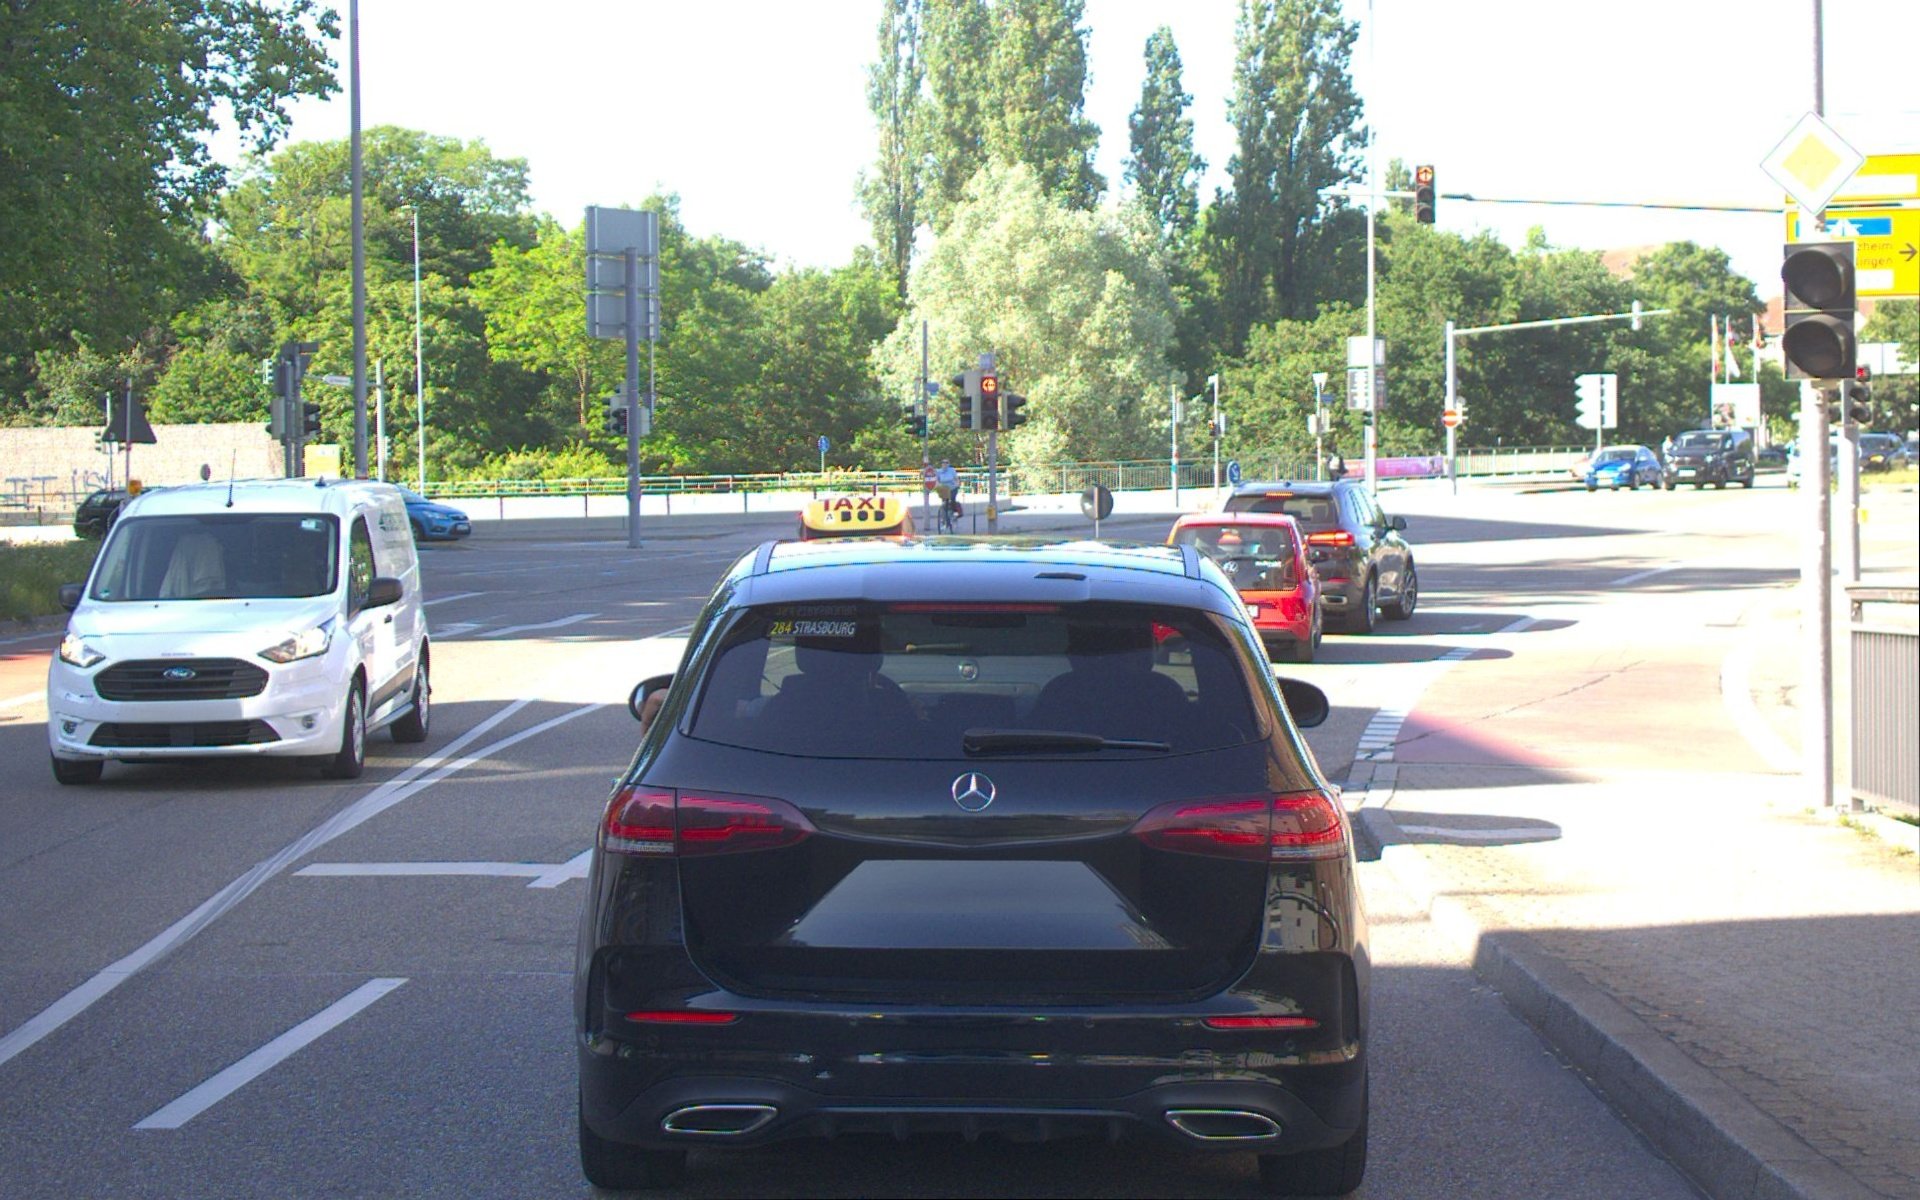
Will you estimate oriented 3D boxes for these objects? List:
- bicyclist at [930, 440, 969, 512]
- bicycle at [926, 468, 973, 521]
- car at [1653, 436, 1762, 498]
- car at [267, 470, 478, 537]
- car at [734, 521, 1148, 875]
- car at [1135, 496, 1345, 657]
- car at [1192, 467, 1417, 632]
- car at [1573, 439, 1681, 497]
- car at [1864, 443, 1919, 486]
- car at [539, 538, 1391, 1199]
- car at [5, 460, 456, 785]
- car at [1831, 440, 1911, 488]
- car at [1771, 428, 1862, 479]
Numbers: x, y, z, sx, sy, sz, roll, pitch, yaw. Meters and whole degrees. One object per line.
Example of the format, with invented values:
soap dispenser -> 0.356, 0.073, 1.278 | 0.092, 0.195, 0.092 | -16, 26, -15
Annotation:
bicyclist -> -0.257, -2.980, 82.450 | 0.687, 1.695, 1.197 | -1, 3, 11
bicycle -> -0.248, -2.539, 82.469 | 0.687, 1.198, 2.326 | -1, 3, 11
car -> 24.027, -4.278, 110.377 | 1.997, 1.928, 4.844 | 1, 3, 31
car -> -13.313, -2.189, 77.889 | 4.442, 1.433, 1.824 | 0, 3, 26
car -> -0.036, 0.393, 17.358 | 1.820, 1.484, 4.000 | -1, 2, 1
car -> 2.964, -0.291, 35.675 | 1.821, 1.474, 3.999 | 2, 3, 9
car -> 4.183, -0.666, 41.170 | 1.870, 1.784, 4.411 | 2, 3, 16
car -> 22.194, -4.412, 114.235 | 1.997, 1.858, 4.844 | 1, 3, 31
car -> 34.167, -4.876, 123.902 | 1.997, 1.448, 3.993 | 2, 2, 31
car -> -0.017, 0.598, 9.092 | 1.751, 1.488, 4.000 | 0, 1, -1
car -> -4.479, 0.027, 21.919 | 1.810, 1.795, 5.121 | -1, 2, -1
car -> 30.850, -4.619, 116.383 | 1.726, 1.577, 3.998 | 1, 3, 29
car -> 27.440, -4.694, 110.109 | 1.823, 1.577, 4.098 | 0, 3, 29
